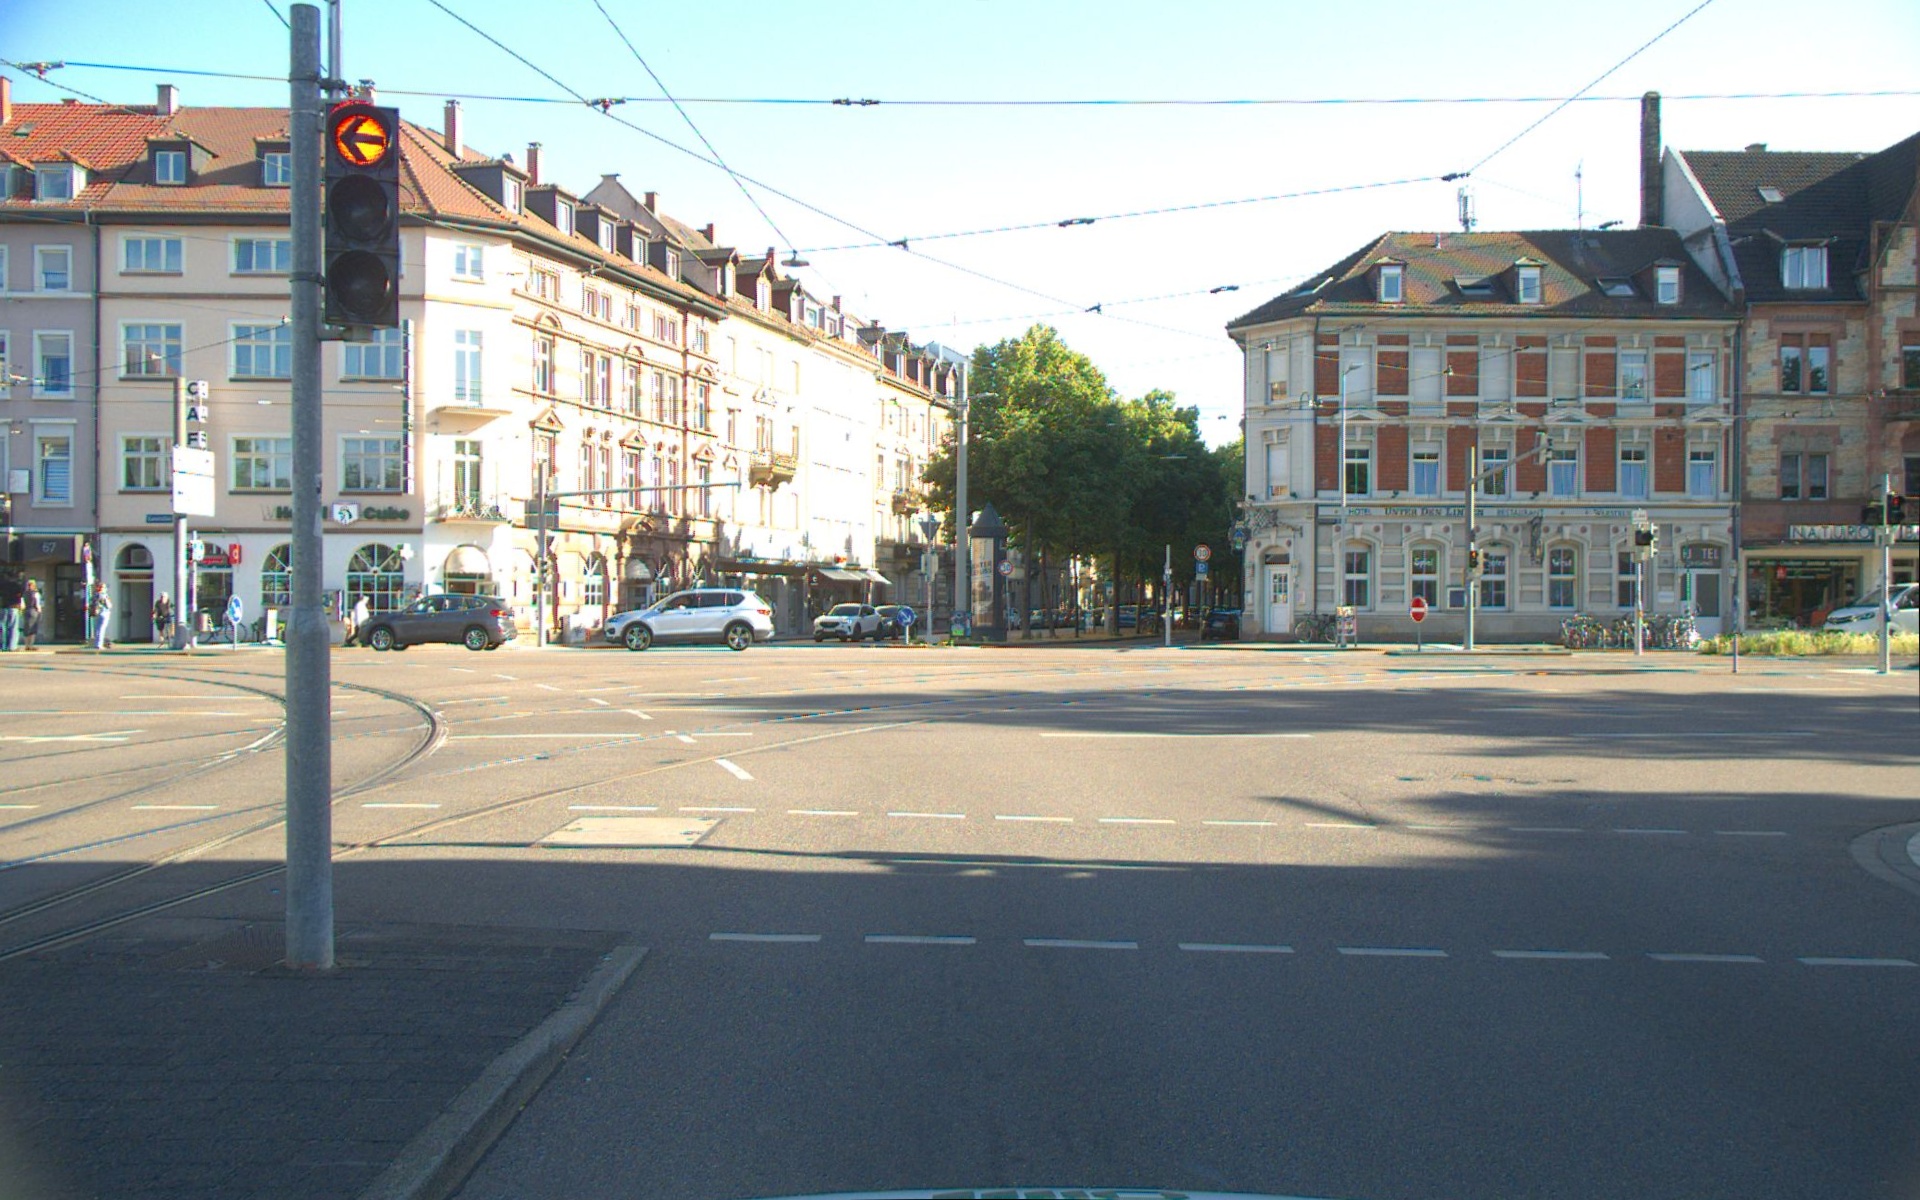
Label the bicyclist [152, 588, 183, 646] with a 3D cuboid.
[{"bbox_3d":[-24.867,0.532,51.922,0.608,1.822,0.615,1,-1,4],"label":"bicyclist"}]

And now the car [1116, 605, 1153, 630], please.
[{"bbox_3d":[12.337,1.234,116.762,1.951,1.713,4.003,1,0,15],"label":"car"}]

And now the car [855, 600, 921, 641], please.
[{"bbox_3d":[-3.181,0.901,73.535,1.786,1.715,3.877,1,0,16],"label":"car"}]

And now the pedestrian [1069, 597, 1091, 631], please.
[{"bbox_3d":[7.334,0.863,100.870,0.952,2.049,0.908,1,-1,-32],"label":"pedestrian"}]

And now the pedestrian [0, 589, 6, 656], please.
[{"bbox_3d":[-24.288,0.564,41.220,0.561,1.677,0.727,1,-1,-1],"label":"pedestrian"}]

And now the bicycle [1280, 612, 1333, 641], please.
[{"bbox_3d":[11.986,0.909,57.270,1.764,0.979,0.604,1,0,14],"label":"bicycle"}]

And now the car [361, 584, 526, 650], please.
[{"bbox_3d":[-14.830,0.493,47.642,4.142,1.805,1.818,1,0,-2],"label":"car"}]

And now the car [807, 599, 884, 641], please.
[{"bbox_3d":[-4.607,0.808,67.179,1.764,1.613,4.162,1,0,16],"label":"car"}]

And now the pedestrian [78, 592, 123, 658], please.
[{"bbox_3d":[-21.307,0.619,41.021,0.655,1.622,0.815,1,-1,-1],"label":"pedestrian"}]

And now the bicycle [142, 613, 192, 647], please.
[{"bbox_3d":[-24.879,0.933,51.906,0.608,1.048,1.755,1,0,4],"label":"bicycle"}]

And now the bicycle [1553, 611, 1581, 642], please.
[{"bbox_3d":[19.814,0.863,54.016,0.749,0.979,2.211,1,0,17],"label":"bicycle"}]

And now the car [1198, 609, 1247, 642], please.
[{"bbox_3d":[13.129,1.280,82.665,1.719,1.583,4.001,1,0,20],"label":"car"}]

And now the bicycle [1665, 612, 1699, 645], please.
[{"bbox_3d":[23.333,0.910,53.492,0.775,1.033,2.211,1,0,17],"label":"bicycle"}]

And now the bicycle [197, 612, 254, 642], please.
[{"bbox_3d":[-25.090,0.913,56.493,1.666,1.000,0.611,1,0,-1],"label":"bicycle"}]

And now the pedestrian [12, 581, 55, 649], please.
[{"bbox_3d":[-22.960,0.370,41.014,0.571,1.677,0.840,1,-1,-1],"label":"pedestrian"}]

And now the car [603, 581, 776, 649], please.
[{"bbox_3d":[-7.445,0.419,45.777,4.588,1.764,1.832,1,0,-9],"label":"car"}]

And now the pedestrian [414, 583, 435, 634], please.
[{"bbox_3d":[-18.217,0.292,56.229,0.493,1.705,0.581,1,-1,-38],"label":"pedestrian"}]

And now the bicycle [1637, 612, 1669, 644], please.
[{"bbox_3d":[22.472,0.896,53.634,0.749,1.025,2.221,1,0,17],"label":"bicycle"}]

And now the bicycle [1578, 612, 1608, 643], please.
[{"bbox_3d":[20.568,0.876,53.779,0.749,0.985,2.211,1,0,17],"label":"bicycle"}]

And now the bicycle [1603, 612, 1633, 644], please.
[{"bbox_3d":[21.347,0.889,53.686,0.749,1.001,2.211,1,0,17],"label":"bicycle"}]

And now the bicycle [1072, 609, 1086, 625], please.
[{"bbox_3d":[9.241,1.331,128.431,0.659,1.228,1.822,1,0,17],"label":"bicycle"}]

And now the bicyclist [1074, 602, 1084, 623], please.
[{"bbox_3d":[9.247,0.951,128.438,0.659,1.595,0.748,1,-1,17],"label":"bicyclist"}]

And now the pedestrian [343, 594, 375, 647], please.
[{"bbox_3d":[-19.519,0.664,53.715,0.556,1.671,0.792,1,-1,22],"label":"pedestrian"}]

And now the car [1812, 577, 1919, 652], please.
[{"bbox_3d":[25.034,0.368,42.680,5.092,1.886,2.000,0,0,0],"label":"car"}]

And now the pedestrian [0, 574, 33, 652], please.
[{"bbox_3d":[-22.877,0.313,39.965,0.516,1.854,0.676,1,-1,-1],"label":"pedestrian"}]
